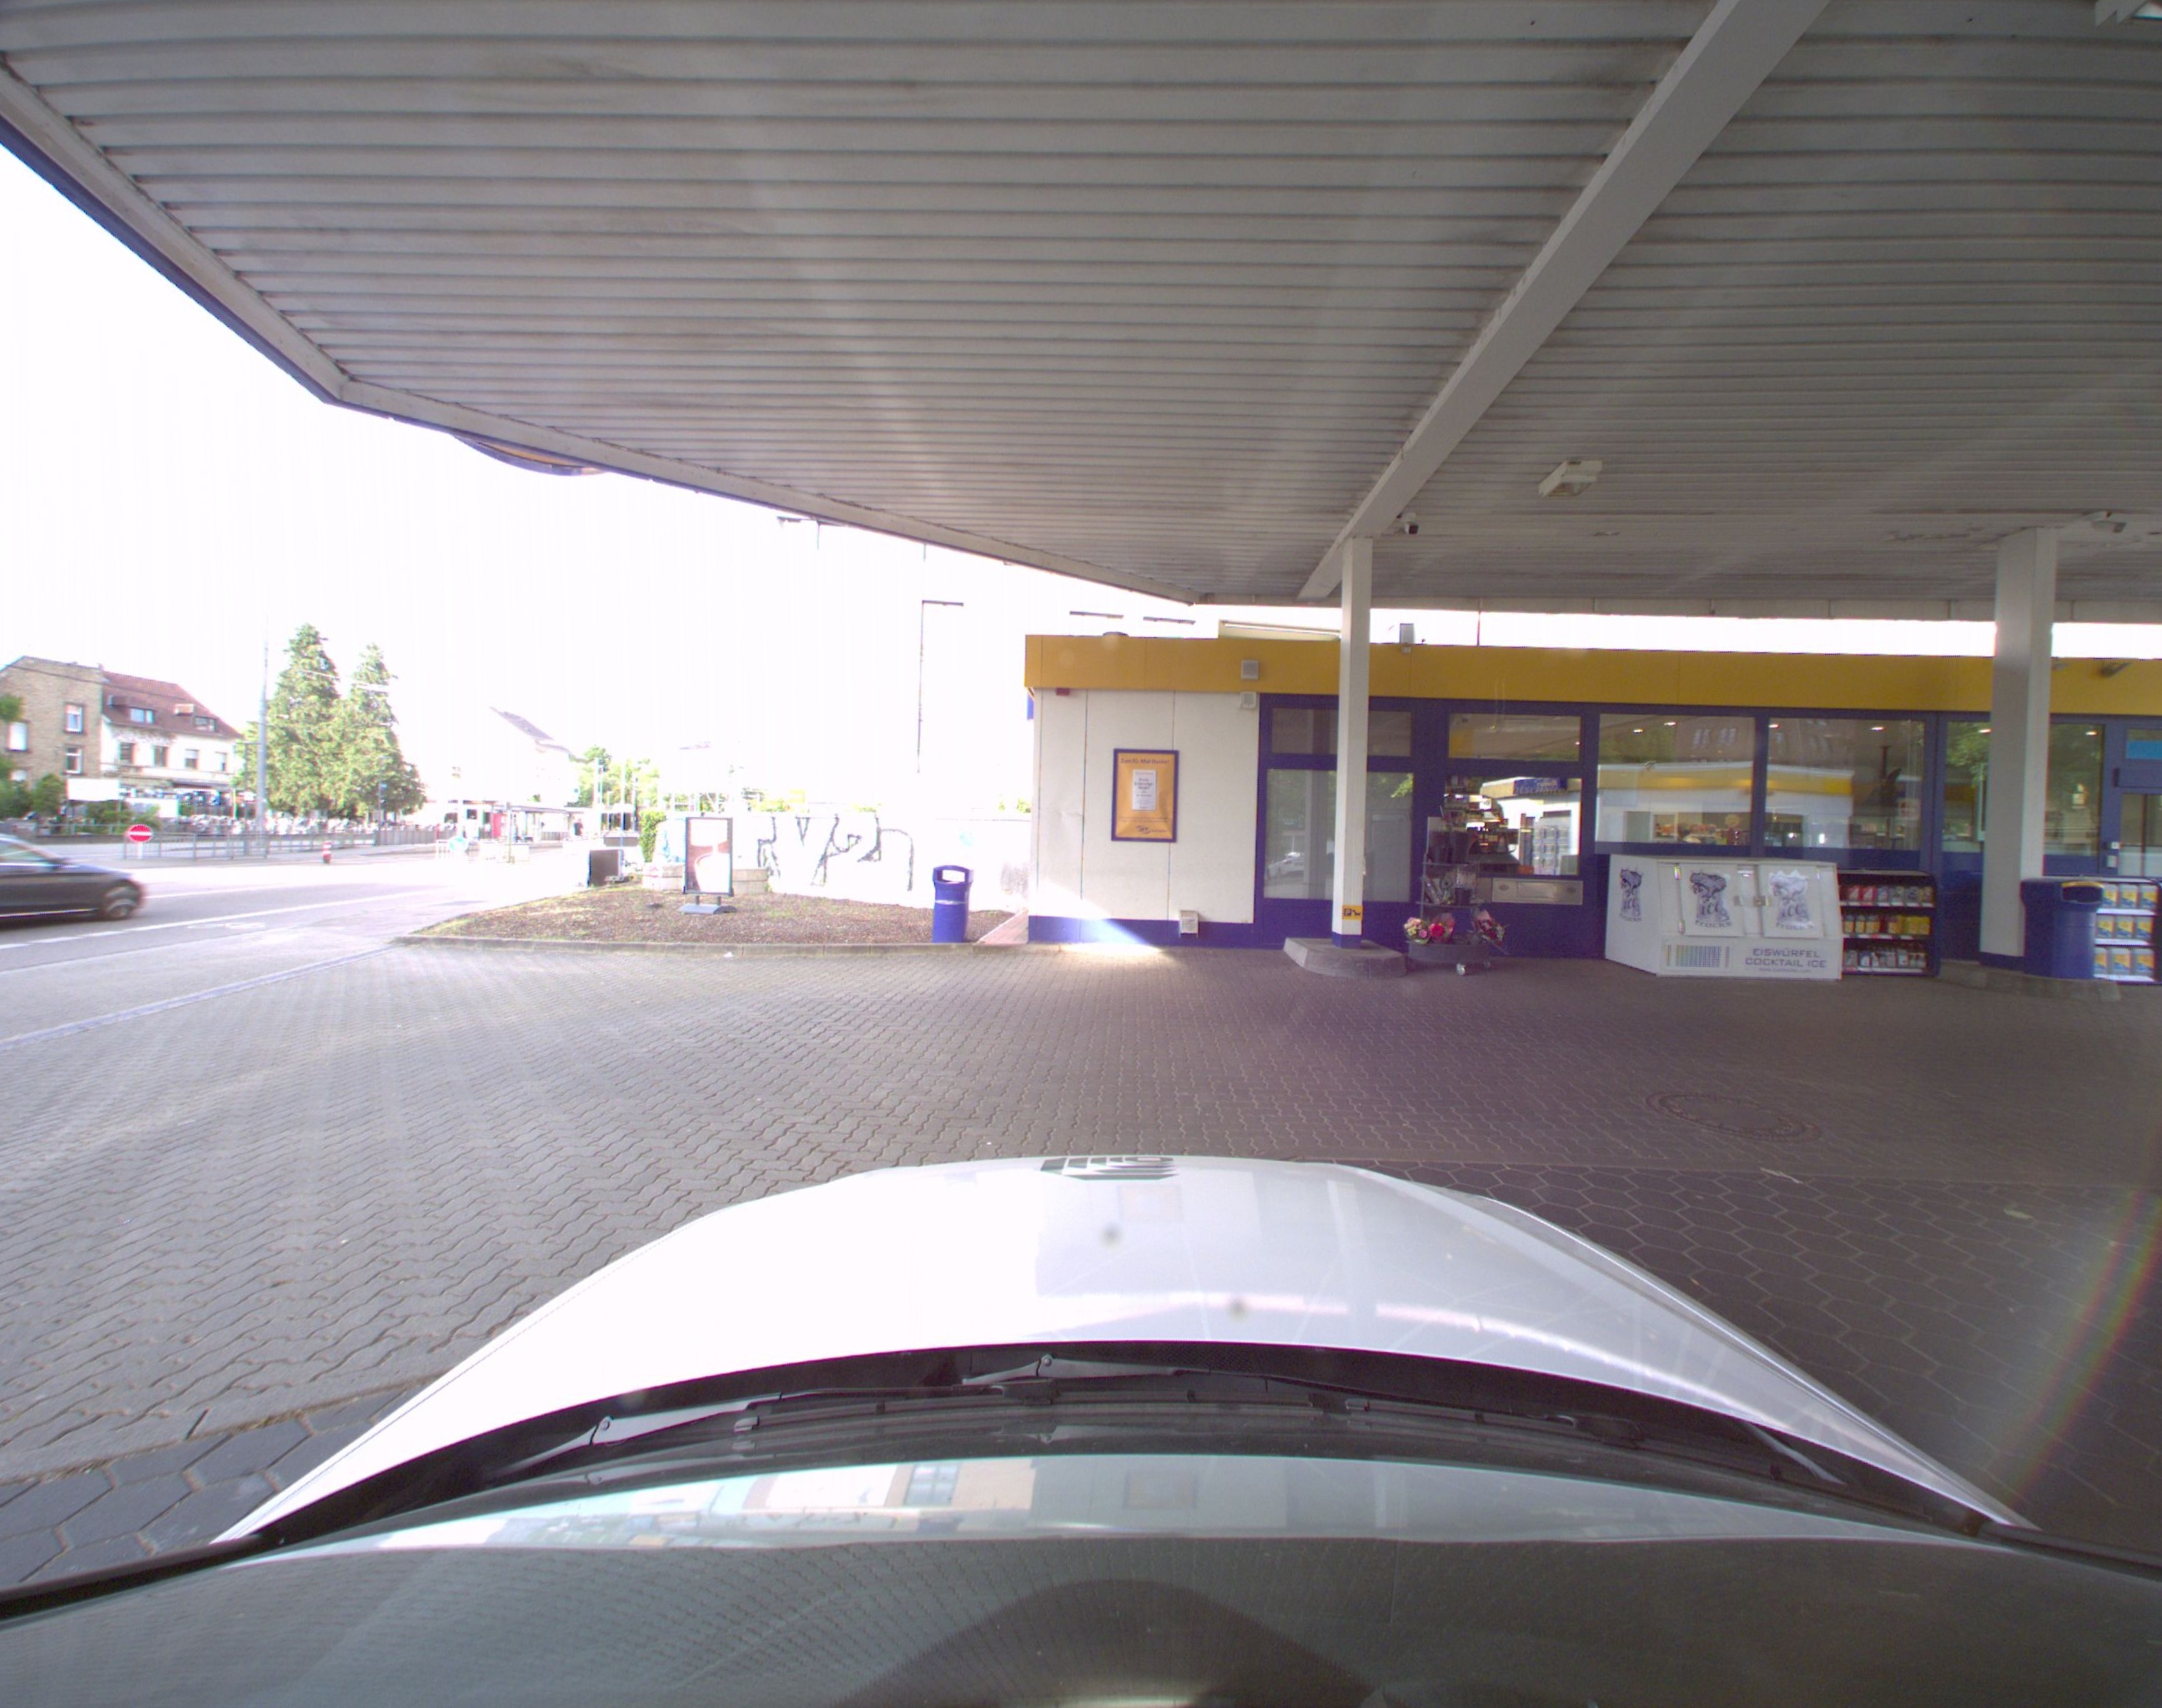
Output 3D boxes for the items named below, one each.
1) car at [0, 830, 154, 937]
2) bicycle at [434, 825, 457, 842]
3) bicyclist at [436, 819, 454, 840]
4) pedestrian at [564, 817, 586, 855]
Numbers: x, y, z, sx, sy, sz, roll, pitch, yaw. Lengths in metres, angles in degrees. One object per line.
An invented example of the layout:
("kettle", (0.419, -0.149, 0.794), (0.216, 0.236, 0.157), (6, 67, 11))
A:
("car", (-16.050, 0.408, 11.411), (1.751, 1.468, 4.548), (2, 1, -15))
("bicycle", (-46.728, -1.489, 59.878), (0.680, 1.222, 1.909), (0, 1, -16))
("bicyclist", (-46.726, -1.830, 59.876), (0.680, 1.534, 1.079), (0, 1, -16))
("pedestrian", (-27.565, -0.978, 44.390), (0.807, 2.014, 0.846), (0, -1, -14))
